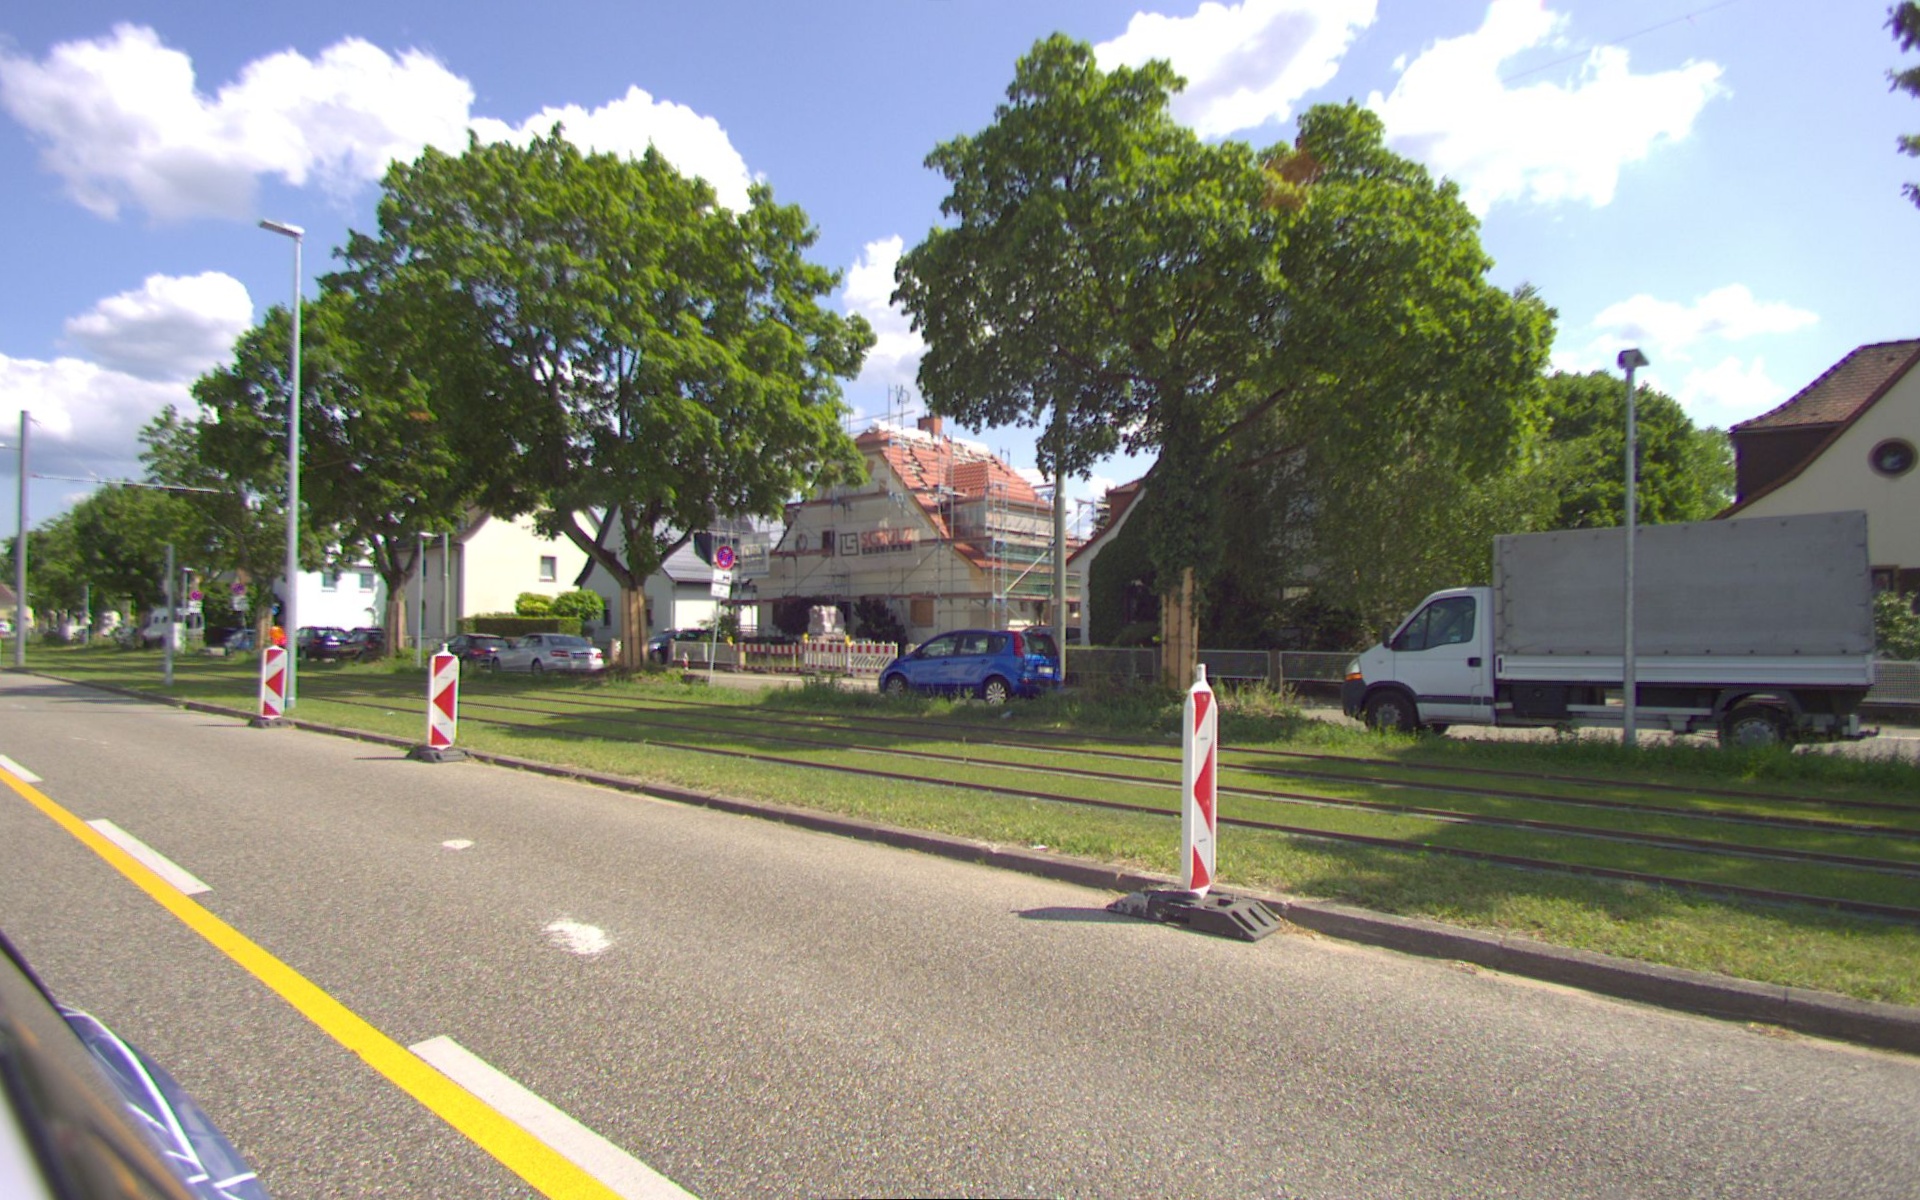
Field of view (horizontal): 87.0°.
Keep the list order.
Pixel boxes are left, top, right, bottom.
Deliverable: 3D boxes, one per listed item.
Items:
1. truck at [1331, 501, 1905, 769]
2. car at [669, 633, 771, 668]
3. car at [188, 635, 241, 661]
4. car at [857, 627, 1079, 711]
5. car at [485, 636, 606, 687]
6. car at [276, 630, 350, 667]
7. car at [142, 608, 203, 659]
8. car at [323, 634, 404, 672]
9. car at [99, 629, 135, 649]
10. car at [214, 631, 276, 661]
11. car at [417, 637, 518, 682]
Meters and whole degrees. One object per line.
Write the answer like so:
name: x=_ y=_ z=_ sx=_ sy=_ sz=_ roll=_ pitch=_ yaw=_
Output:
truck: x=8.303 y=0.452 z=13.401 sx=5.971 sy=2.802 sz=2.242 roll=-2 pitch=-3 yaw=41
car: x=-10.918 y=2.288 z=46.211 sx=1.702 sy=1.497 sz=4.345 roll=-3 pitch=-3 yaw=41
car: x=-44.467 y=2.870 z=60.334 sx=4.403 sy=1.497 sz=1.680 roll=-3 pitch=-3 yaw=41
car: x=0.064 y=1.348 z=20.272 sx=4.403 sy=1.497 sz=1.680 roll=-3 pitch=-3 yaw=41
car: x=-13.099 y=1.928 z=31.861 sx=4.520 sy=1.497 sz=1.765 roll=-4 pitch=-3 yaw=42
car: x=-29.486 y=2.220 z=46.077 sx=4.403 sy=1.584 sz=1.680 roll=-3 pitch=-3 yaw=41
car: x=-49.506 y=2.156 z=63.611 sx=5.080 sy=3.061 sz=2.108 roll=-3 pitch=-3 yaw=41
car: x=-25.172 y=2.248 z=42.653 sx=4.403 sy=1.497 sz=1.680 roll=-3 pitch=-3 yaw=41
car: x=-69.094 y=3.200 z=82.928 sx=4.404 sy=1.497 sz=1.679 roll=-4 pitch=-3 yaw=42
car: x=-37.485 y=2.423 z=53.053 sx=4.403 sy=1.497 sz=1.680 roll=-3 pitch=-3 yaw=41
car: x=-17.514 y=2.115 z=35.894 sx=4.403 sy=1.497 sz=1.680 roll=-3 pitch=-3 yaw=41
